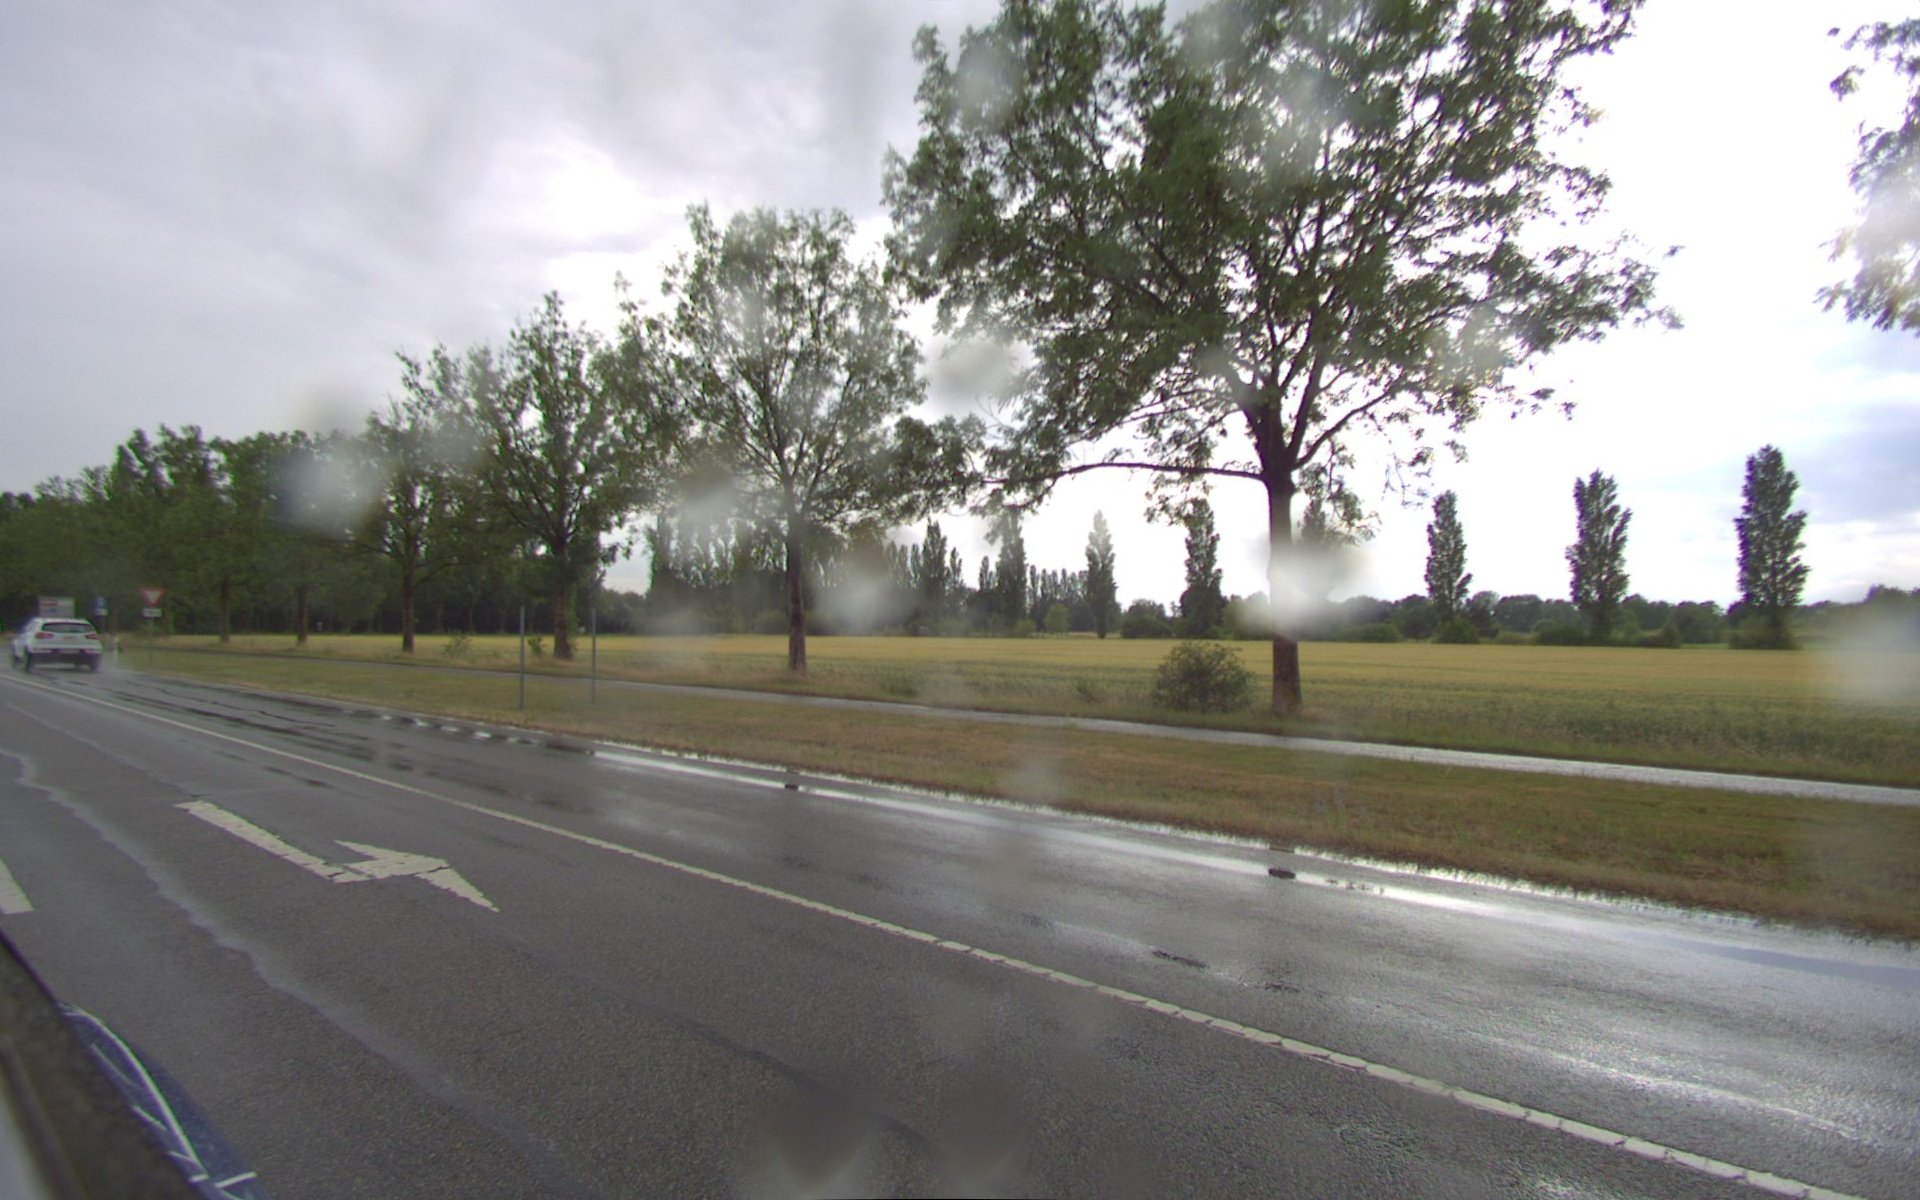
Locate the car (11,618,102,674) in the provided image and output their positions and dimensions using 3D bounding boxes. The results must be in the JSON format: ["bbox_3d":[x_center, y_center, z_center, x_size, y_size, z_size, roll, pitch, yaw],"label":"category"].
[{"bbox_3d":[-29.111,1.467,32.562,4.155,1.684,1.685,-1,-4,42],"label":"car"}]
